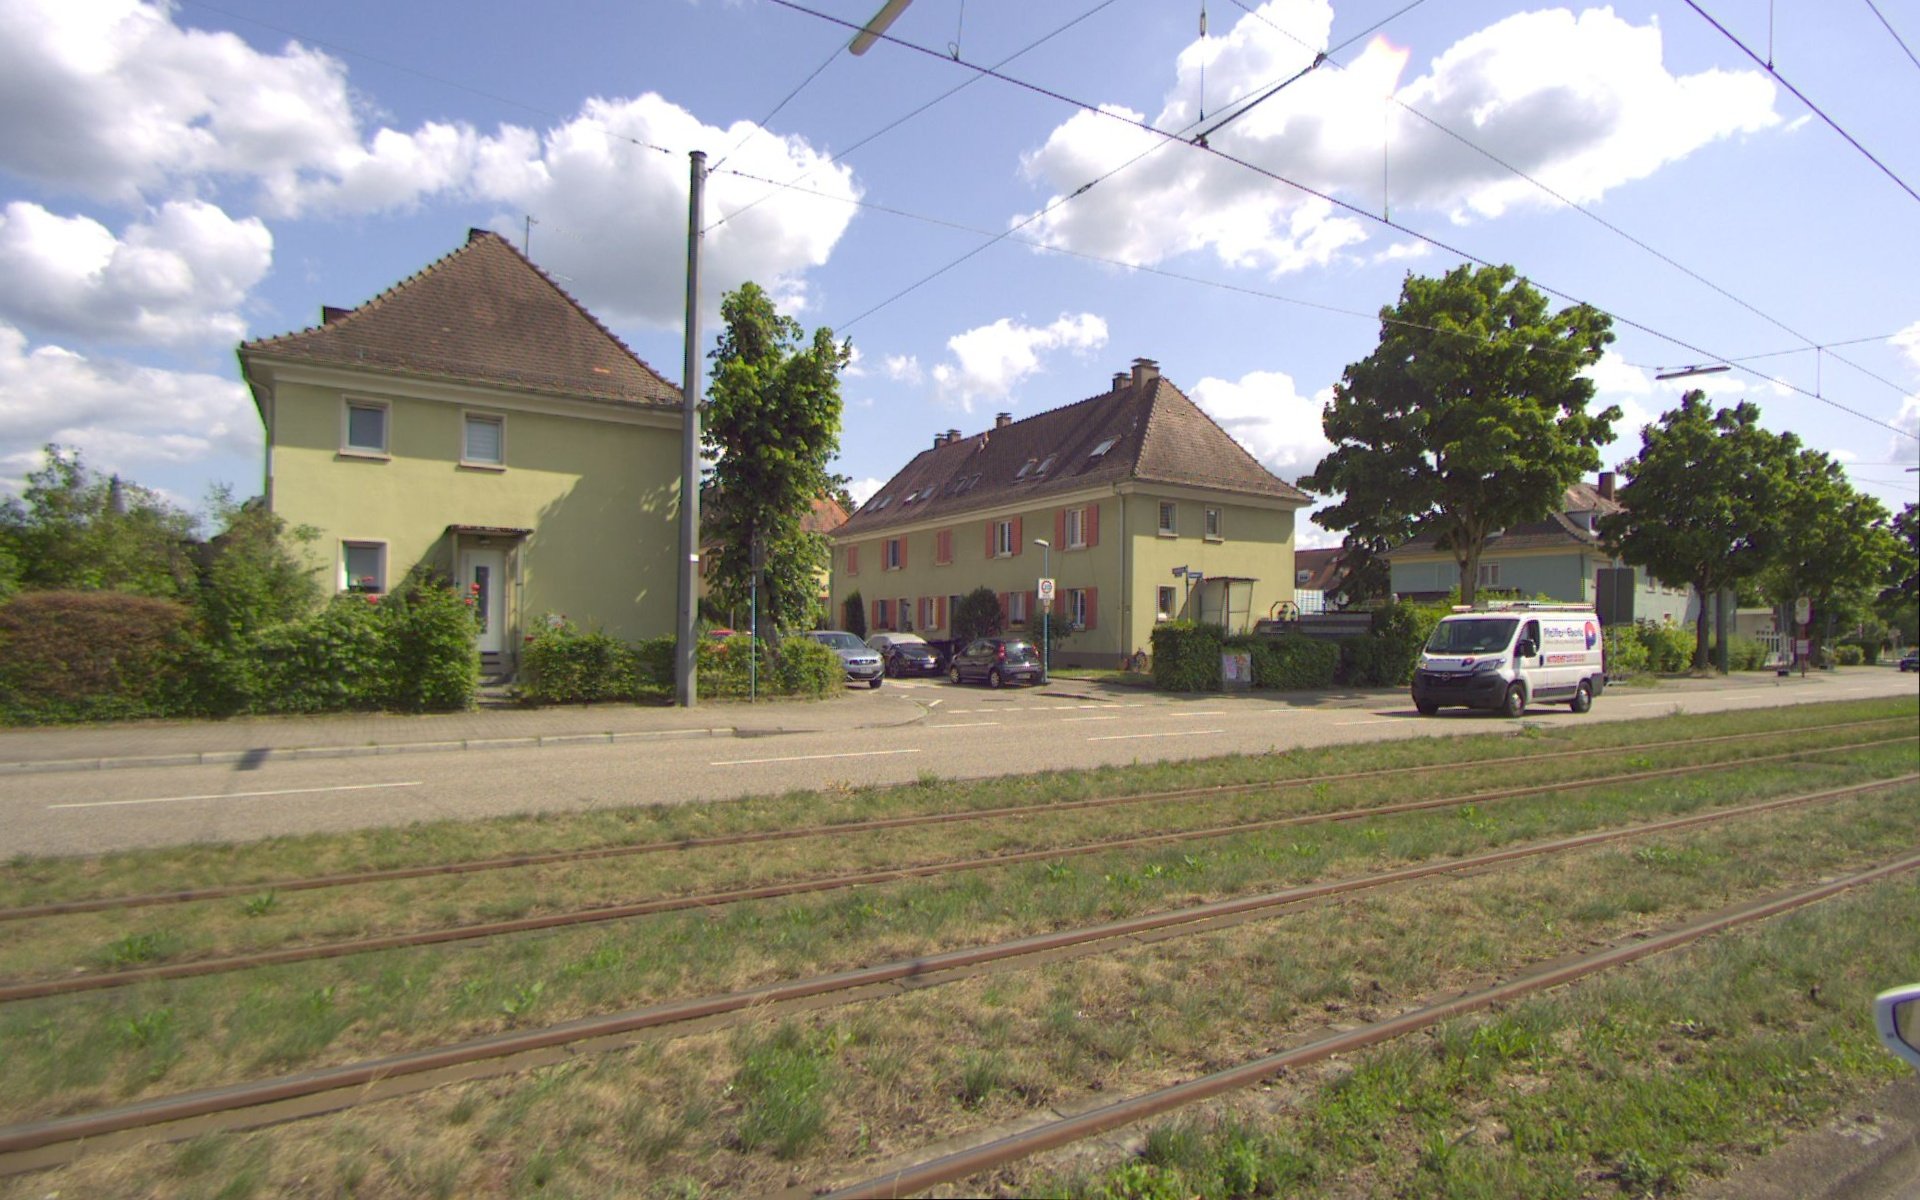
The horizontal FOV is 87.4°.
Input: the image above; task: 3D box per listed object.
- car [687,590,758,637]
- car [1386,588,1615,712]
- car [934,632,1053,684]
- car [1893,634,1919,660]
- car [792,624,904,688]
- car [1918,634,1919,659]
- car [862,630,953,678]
[{"bbox_3d":[-9.295,0.561,39.193,1.707,1.720,3.724,1,-3,-30],"label":"car"},{"bbox_3d":[11.826,1.082,21.877,5.278,2.403,2.183,2,-3,-34],"label":"car"},{"bbox_3d":[0.967,1.748,30.919,1.874,1.487,3.720,1,-2,-33],"label":"car"},{"bbox_3d":[60.105,2.931,62.758,3.889,1.605,1.776,1,-2,-33],"label":"car"},{"bbox_3d":[-3.288,1.597,28.979,1.803,1.708,3.722,1,-3,-32],"label":"car"},{"bbox_3d":[65.069,3.055,66.432,4.716,1.635,2.043,2,-2,-41],"label":"car"},{"bbox_3d":[-1.921,1.863,35.554,1.707,1.595,3.723,0,-2,-31],"label":"car"}]
